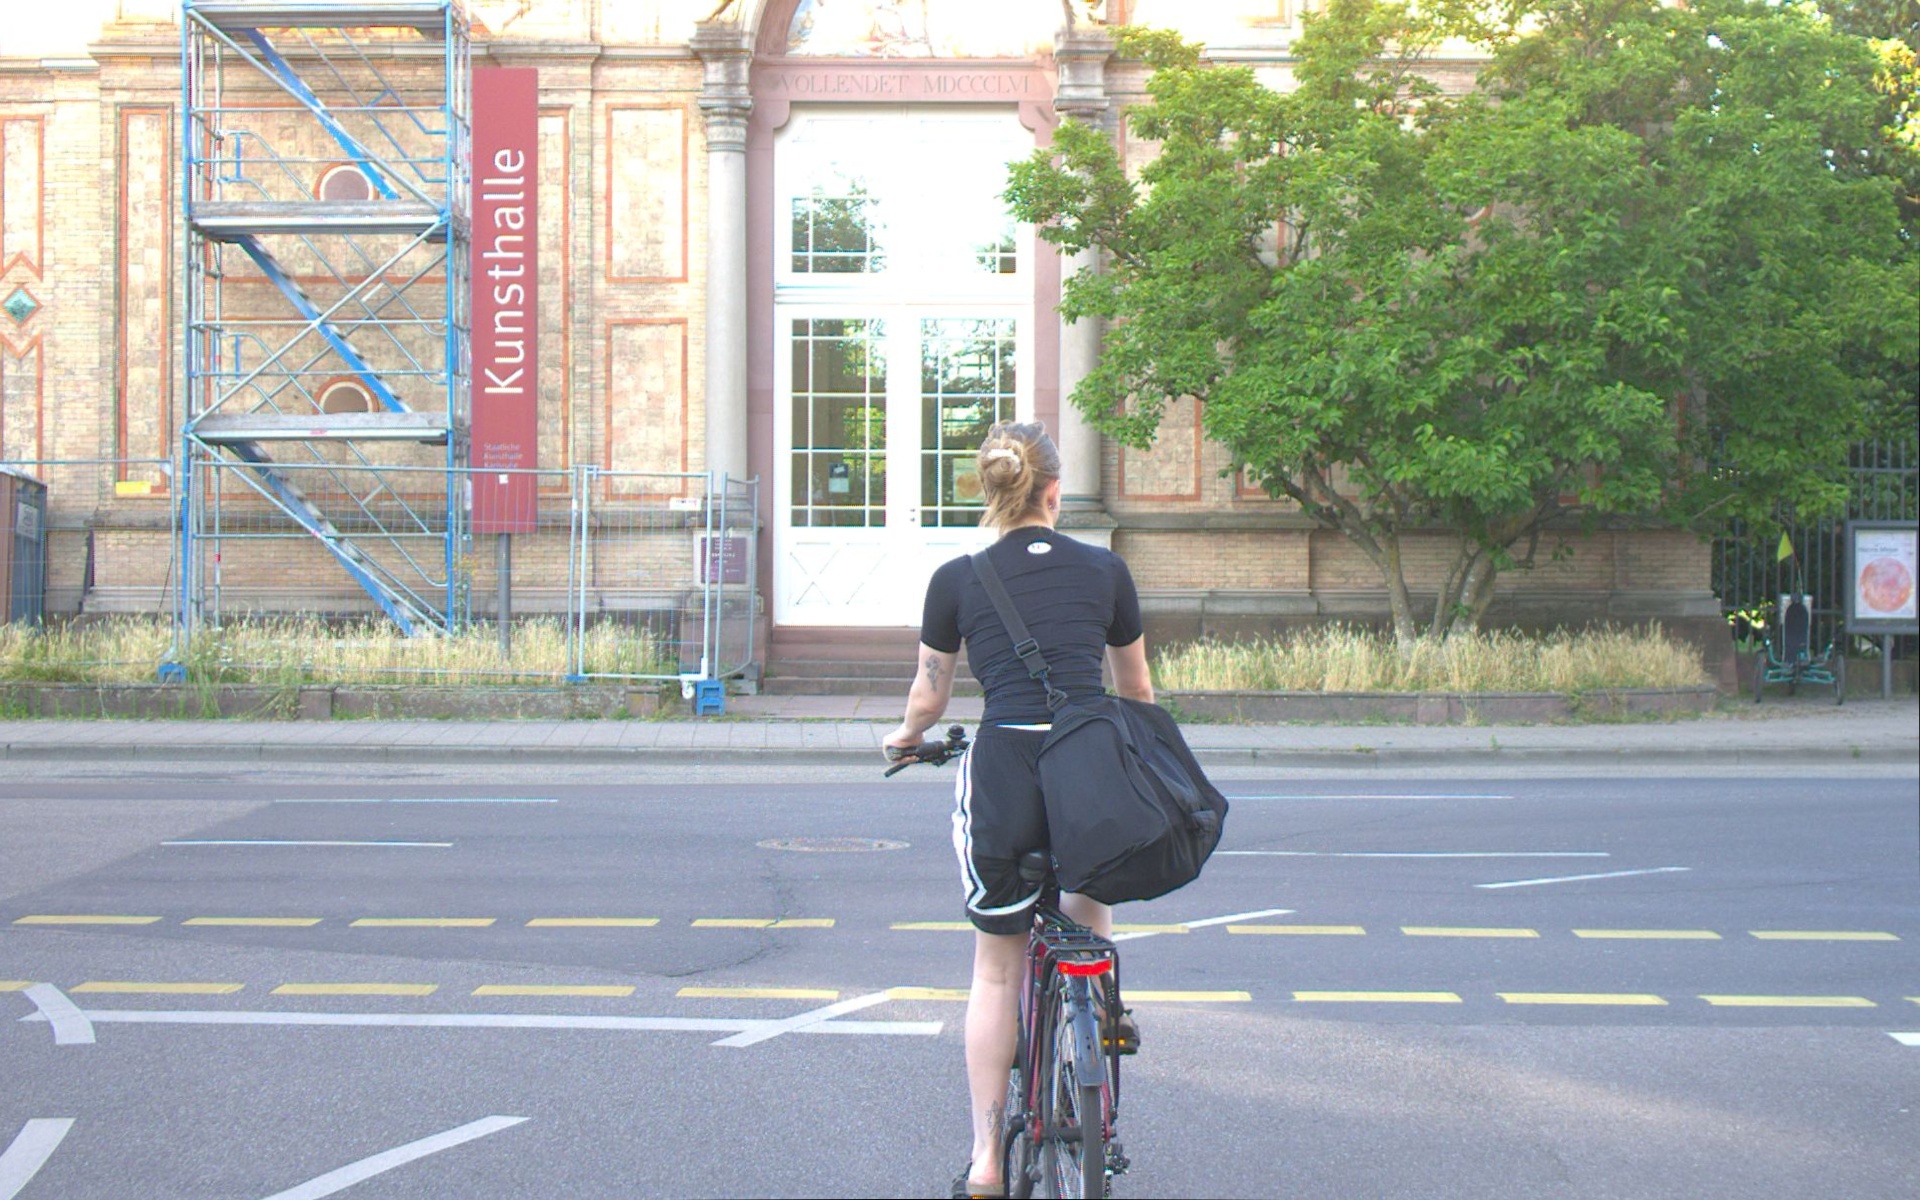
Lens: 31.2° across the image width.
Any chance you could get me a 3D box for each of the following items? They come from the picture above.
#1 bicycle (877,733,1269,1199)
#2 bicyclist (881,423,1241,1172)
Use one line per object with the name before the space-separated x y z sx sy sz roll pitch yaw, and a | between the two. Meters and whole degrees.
bicycle | 0.186 0.889 7.427 0.711 1.152 2.069 0 -1 -2
bicyclist | 0.196 0.401 7.310 0.716 1.497 0.850 0 -1 -1
